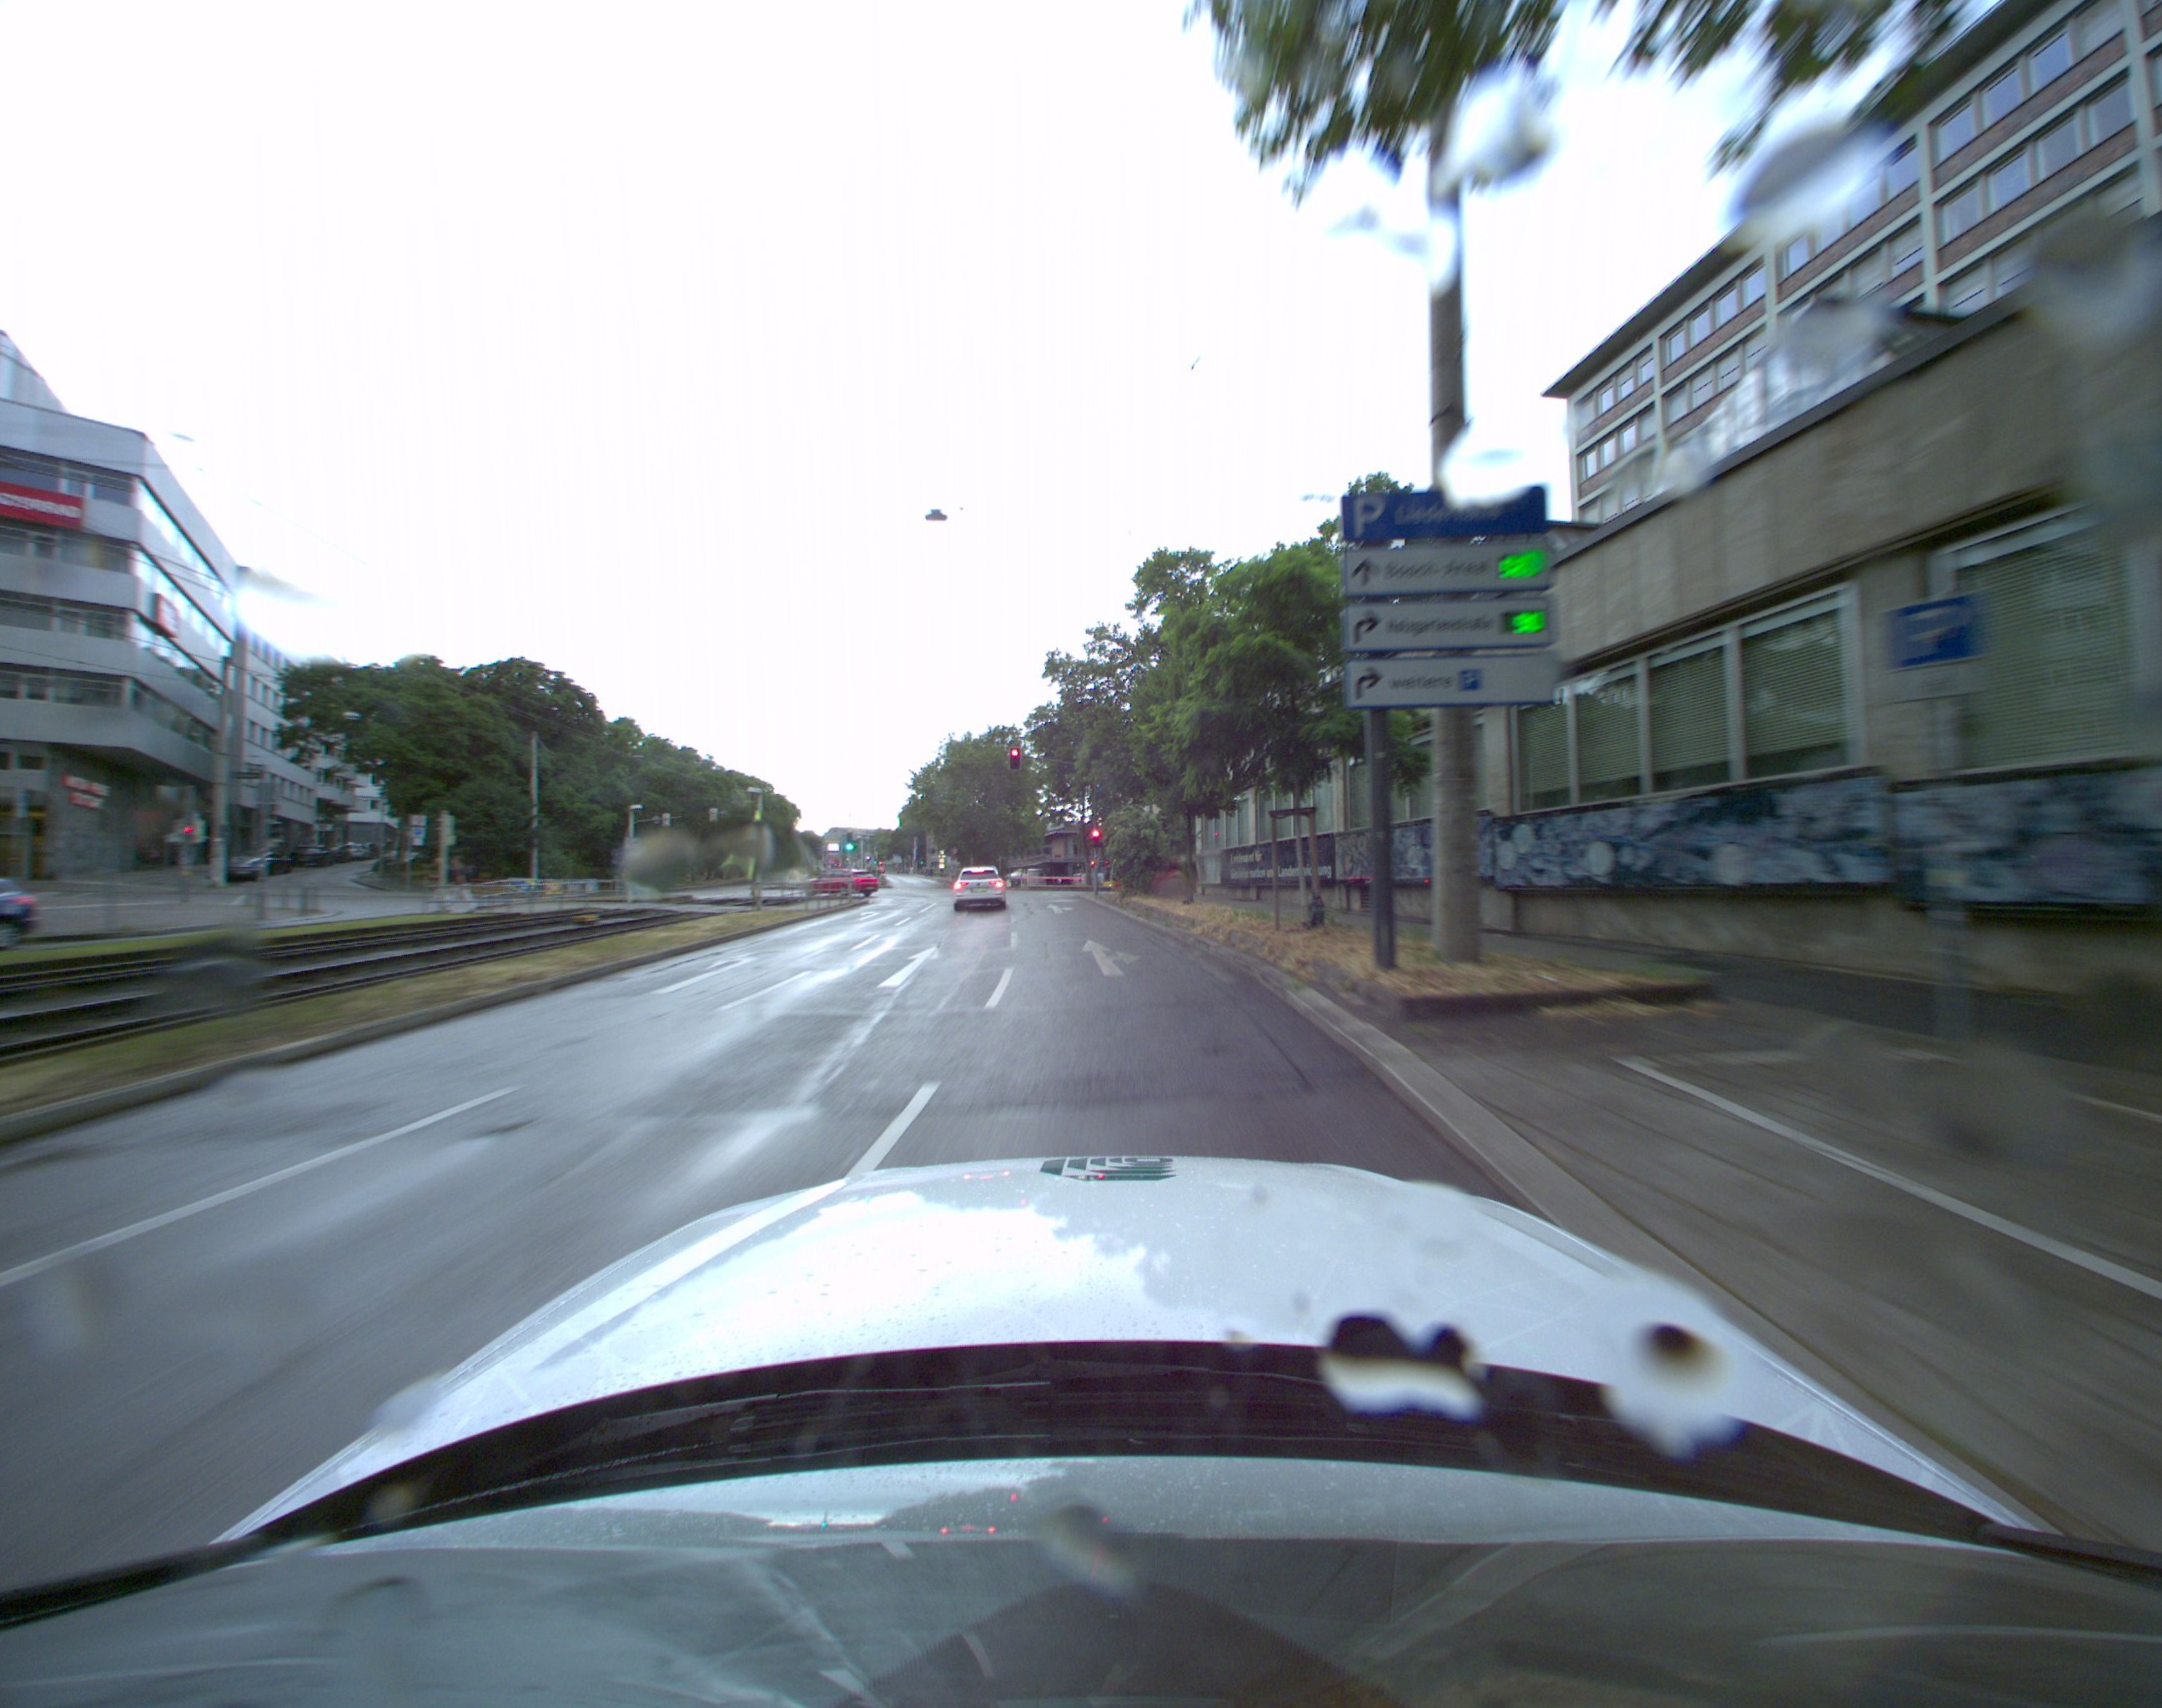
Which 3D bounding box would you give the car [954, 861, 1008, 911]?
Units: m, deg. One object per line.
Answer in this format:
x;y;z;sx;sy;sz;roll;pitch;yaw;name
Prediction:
-3.448;1.069;28.611;1.676;1.576;4.246;-1;-1;-5;car

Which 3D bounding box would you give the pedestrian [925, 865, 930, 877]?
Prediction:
-23.700;2.596;125.783;0.758;1.824;0.696;2;-2;-18;pedestrian

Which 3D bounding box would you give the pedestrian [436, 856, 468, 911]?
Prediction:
-20.989;0.990;27.176;0.642;1.788;0.803;2;-3;-28;pedestrian

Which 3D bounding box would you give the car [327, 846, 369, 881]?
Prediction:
-65.189;0.904;72.475;2.007;2.998;4.166;3;-3;-33;car

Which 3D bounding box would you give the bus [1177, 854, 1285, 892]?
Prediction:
13.377;1.713;72.614;9.171;3.111;2.649;2;-2;-15;bus

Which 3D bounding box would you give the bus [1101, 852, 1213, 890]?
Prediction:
6.615;1.525;70.793;9.440;3.111;2.545;2;-2;-15;bus

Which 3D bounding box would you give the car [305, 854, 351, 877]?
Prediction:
-62.527;0.959;67.708;2.007;1.794;4.166;2;-3;-33;car

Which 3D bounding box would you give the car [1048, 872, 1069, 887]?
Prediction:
-3.118;3.604;113.383;1.998;2.014;3.977;2;-2;-16;car

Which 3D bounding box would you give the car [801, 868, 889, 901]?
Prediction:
-12.480;1.575;43.053;4.360;1.640;1.999;0;-3;31;car

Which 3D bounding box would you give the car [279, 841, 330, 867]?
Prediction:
-57.864;0.046;60.743;2.008;1.794;4.165;3;-3;-34;car

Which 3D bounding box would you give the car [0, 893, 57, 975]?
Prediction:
-21.831;1.513;14.487;1.995;1.582;4.529;2;-2;-12;car

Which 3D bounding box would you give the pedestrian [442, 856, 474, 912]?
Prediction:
-20.090;0.974;26.276;0.642;1.788;0.803;2;-3;-28;pedestrian

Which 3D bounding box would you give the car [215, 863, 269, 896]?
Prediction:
-47.954;1.439;46.627;3.950;1.794;2.011;-1;-3;45;car

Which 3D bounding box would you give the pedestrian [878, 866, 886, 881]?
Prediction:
-21.861;2.161;89.540;0.737;1.640;0.868;1;-2;-7;pedestrian

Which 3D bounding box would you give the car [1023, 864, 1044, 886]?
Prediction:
-6.990;3.102;119.167;2.544;3.134;5.013;1;-2;-10;car
